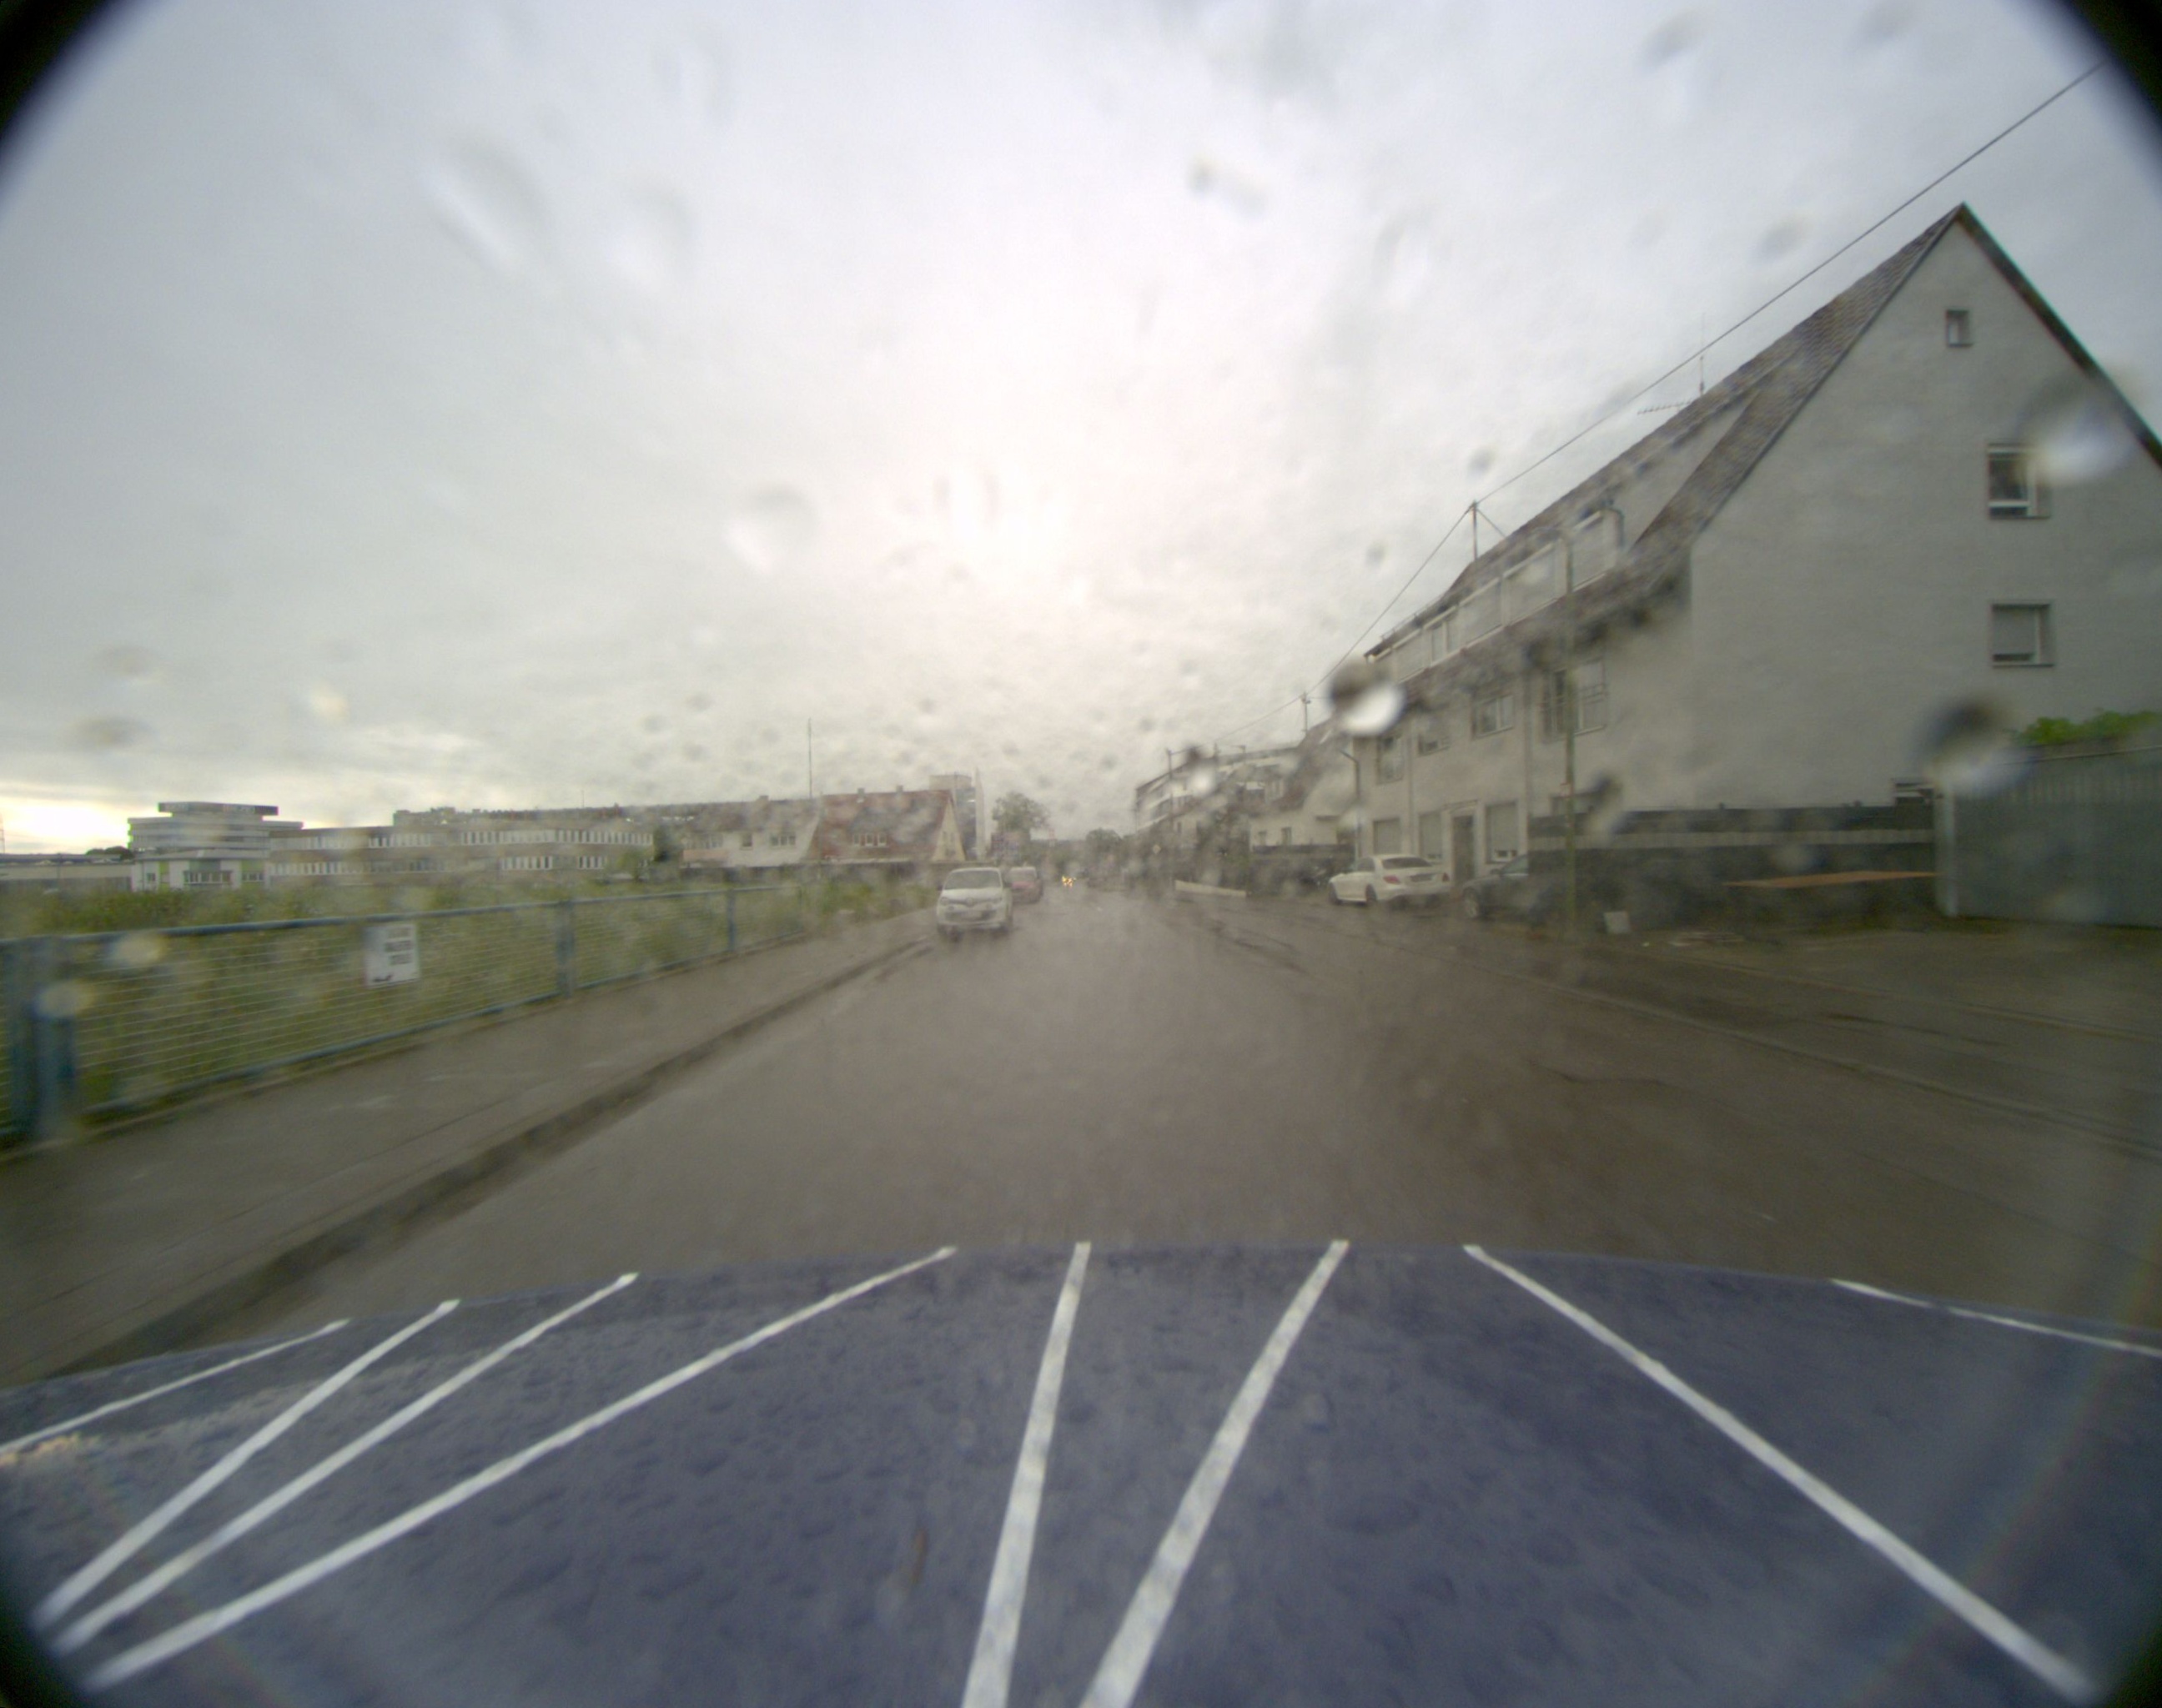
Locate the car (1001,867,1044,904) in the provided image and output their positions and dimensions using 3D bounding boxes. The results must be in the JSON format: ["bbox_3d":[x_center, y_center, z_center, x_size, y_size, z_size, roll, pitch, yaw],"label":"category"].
[{"bbox_3d":[-2.747,1.466,36.473,1.646,1.565,4.644,-2,-1,0],"label":"car"}]

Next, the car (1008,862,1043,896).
[{"bbox_3d":[-3.214,1.439,44.747,1.773,1.814,4.574,-2,-1,-2],"label":"car"}]

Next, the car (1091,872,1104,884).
[{"bbox_3d":[2.412,3.660,114.510,1.841,1.695,4.324,-2,-1,1],"label":"car"}]

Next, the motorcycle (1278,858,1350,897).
[{"bbox_3d":[8.729,0.886,28.513,2.368,1.266,0.736,-4,0,-1],"label":"motorcycle"}]

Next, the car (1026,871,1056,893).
[{"bbox_3d":[-2.589,1.810,50.144,1.773,1.327,4.321,-2,-1,-2],"label":"car"}]

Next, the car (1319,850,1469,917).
[{"bbox_3d":[8.564,0.774,21.378,1.999,1.501,4.895,-5,-1,-1],"label":"car"}]

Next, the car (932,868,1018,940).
[{"bbox_3d":[-2.558,1.165,19.119,1.686,1.548,3.674,-2,-1,-2],"label":"car"}]

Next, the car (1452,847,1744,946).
[{"bbox_3d":[9.009,0.697,13.850,1.832,1.360,4.568,-4,-1,-5],"label":"car"}]
